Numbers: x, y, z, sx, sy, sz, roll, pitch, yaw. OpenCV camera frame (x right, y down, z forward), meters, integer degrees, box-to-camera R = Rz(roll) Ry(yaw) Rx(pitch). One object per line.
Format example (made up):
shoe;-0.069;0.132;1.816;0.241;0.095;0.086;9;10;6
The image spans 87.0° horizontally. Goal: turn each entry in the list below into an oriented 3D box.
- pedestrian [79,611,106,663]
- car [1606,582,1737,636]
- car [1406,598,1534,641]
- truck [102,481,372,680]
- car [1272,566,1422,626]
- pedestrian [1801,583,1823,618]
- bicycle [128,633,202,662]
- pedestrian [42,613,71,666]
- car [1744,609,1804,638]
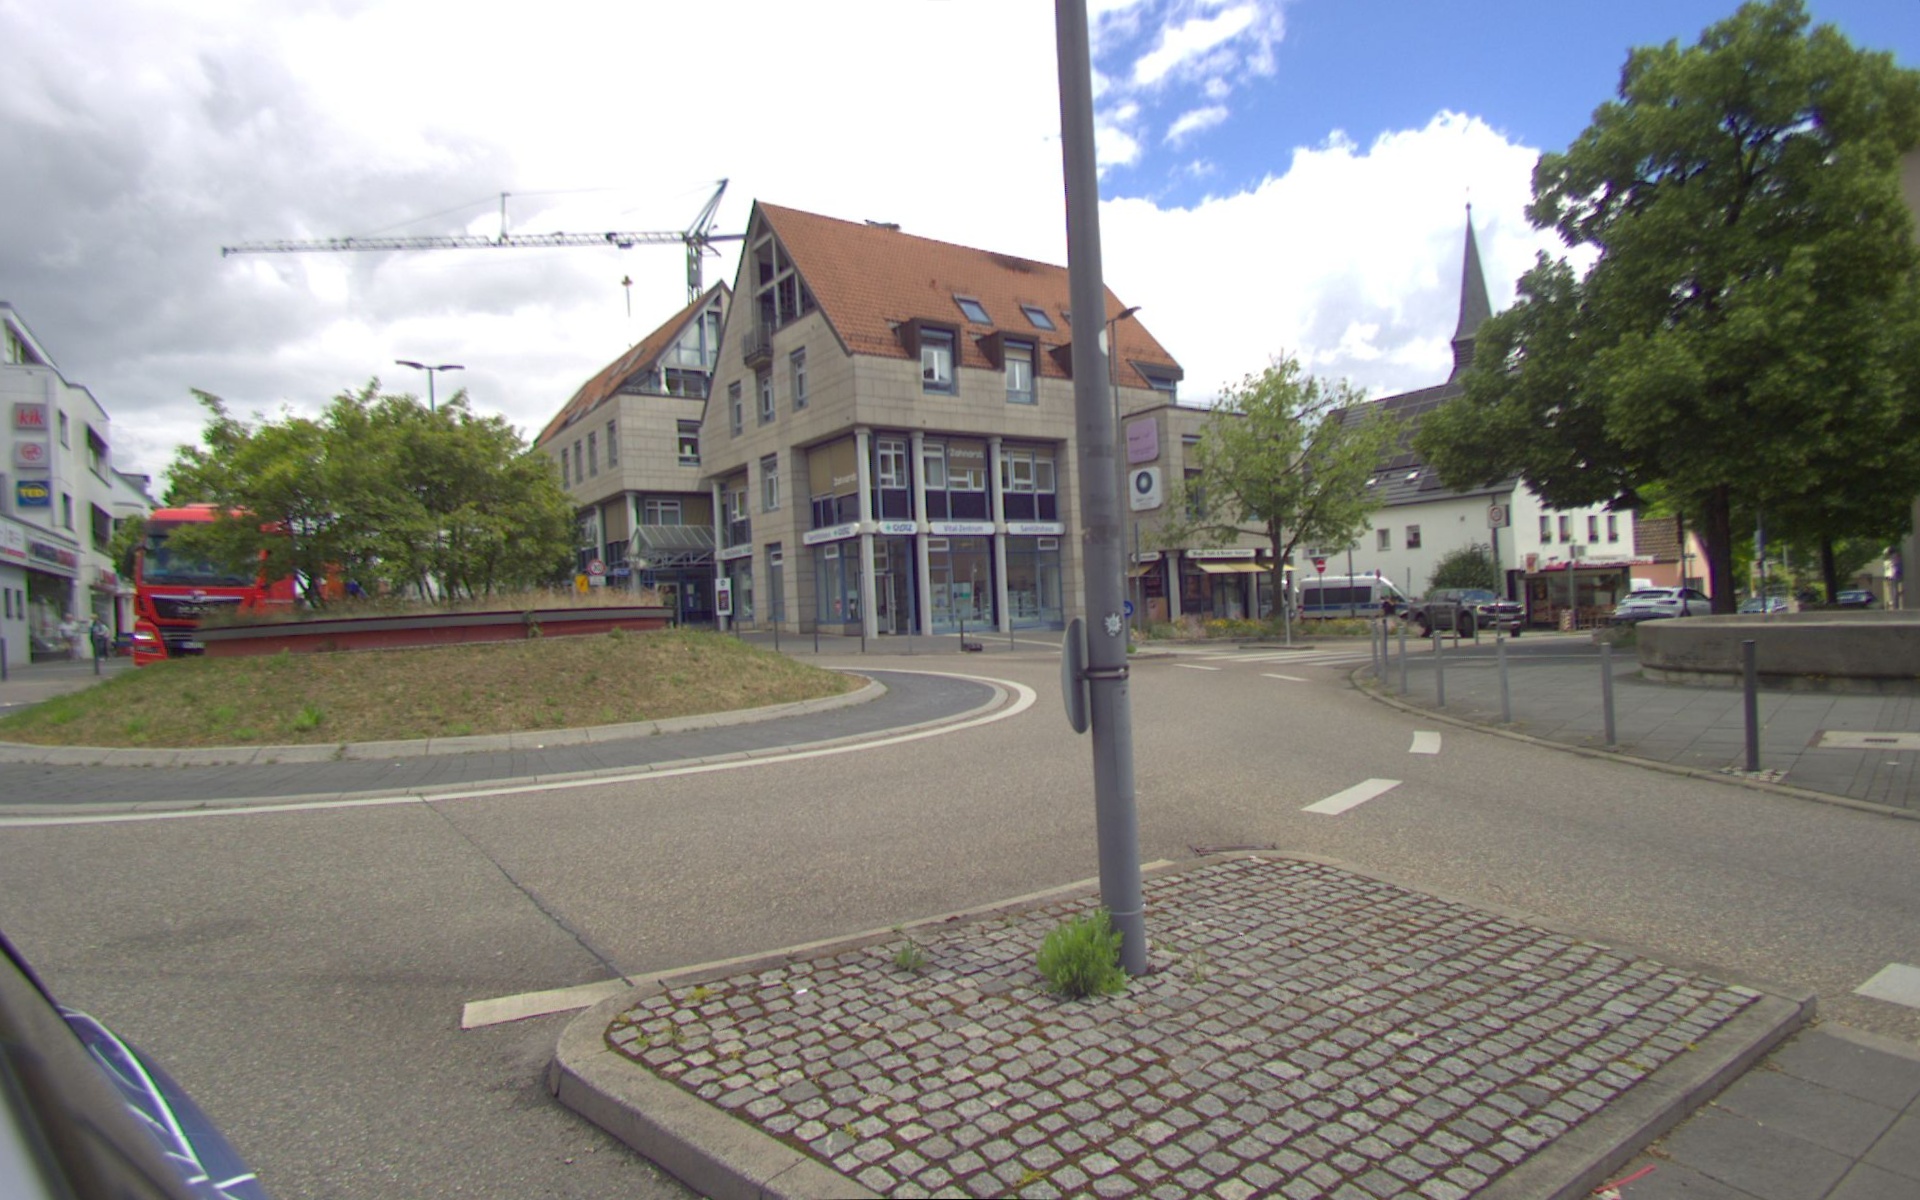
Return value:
pedestrian;-30.330;1.285;35.400;0.502;1.769;0.539;-2;0;-12
car;22.175;0.265;31.512;3.933;1.542;1.989;-2;0;-33
car;18.596;0.695;37.065;1.661;1.431;4.013;-2;0;-23
truck;-17.931;-0.312;26.131;2.916;4.058;10.629;-1;-1;-20
car;17.691;-0.162;46.339;6.272;2.579;2.186;0;-2;27
pedestrian;37.636;0.025;44.683;0.571;1.560;0.599;-2;0;-36
bicycle;-27.928;1.665;35.591;2.032;0.953;0.523;0;-1;-35
pedestrian;-31.067;1.355;34.812;0.670;1.769;0.512;-1;-1;-36
car;41.405;1.185;51.459;3.938;1.276;1.735;-2;0;-42
